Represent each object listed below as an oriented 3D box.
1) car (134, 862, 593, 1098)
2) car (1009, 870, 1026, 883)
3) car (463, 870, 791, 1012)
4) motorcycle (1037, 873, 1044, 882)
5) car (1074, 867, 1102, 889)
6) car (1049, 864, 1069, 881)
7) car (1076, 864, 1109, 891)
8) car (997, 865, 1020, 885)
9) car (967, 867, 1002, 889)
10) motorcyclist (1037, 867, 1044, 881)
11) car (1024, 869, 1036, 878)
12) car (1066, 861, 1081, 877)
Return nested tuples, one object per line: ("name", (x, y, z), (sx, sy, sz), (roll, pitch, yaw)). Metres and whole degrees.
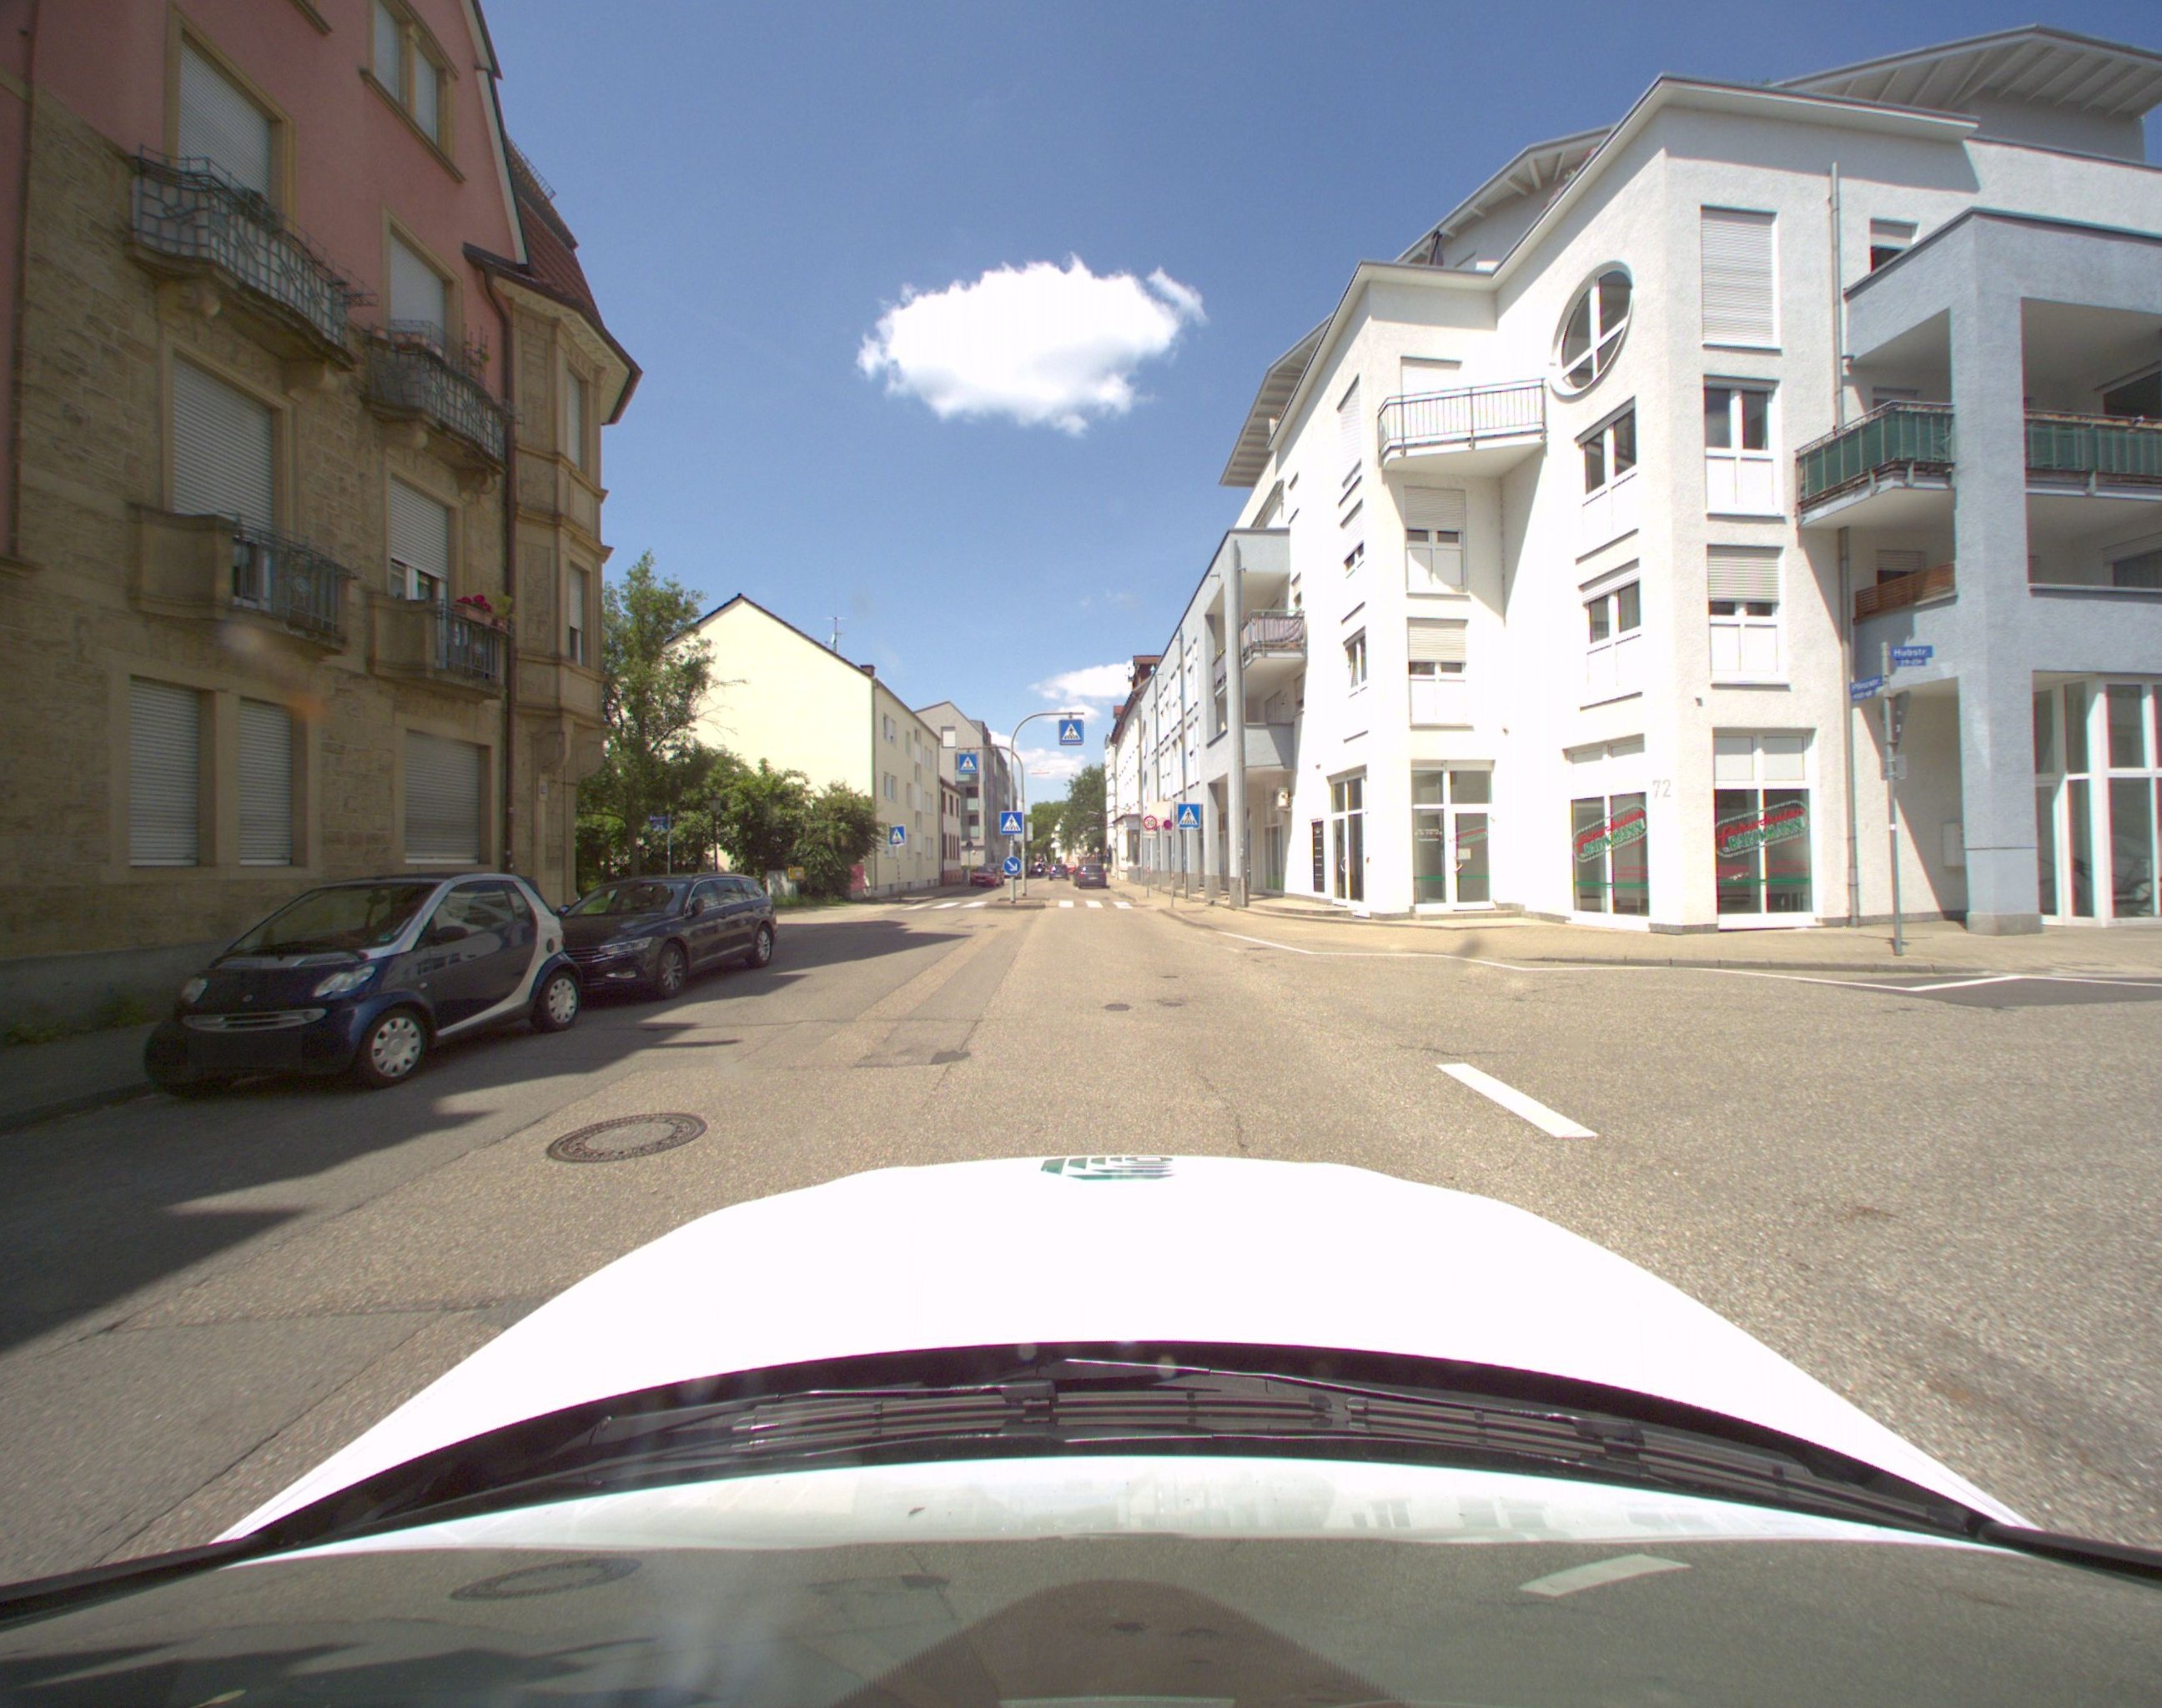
("car", (-5.571, 0.858, 6.762), (1.432, 1.523, 2.694), (-1, -1, -1))
("car", (-7.576, 2.679, 97.736), (1.718, 1.456, 4.003), (0, -1, 0))
("car", (-5.660, 0.974, 10.992), (1.777, 1.458, 4.634), (-1, -1, 0))
("motorcycle", (-4.851, 2.819, 97.677), (0.710, 1.028, 2.240), (-2, -1, 2))
("car", (0.413, 1.578, 54.799), (1.724, 1.420, 4.541), (-1, -1, -2))
("car", (-1.927, 1.642, 72.448), (1.710, 1.402, 3.998), (-1, -1, -1))
("car", (0.683, 1.392, 49.317), (1.706, 1.508, 3.995), (-1, -1, -3))
("car", (-7.463, 2.143, 84.101), (1.750, 1.892, 4.338), (1, -1, 2))
("car", (-6.630, 1.626, 56.517), (1.827, 1.417, 4.290), (-1, -1, 1))
("motorcyclist", (-4.871, 2.360, 97.680), (0.710, 1.634, 1.069), (-2, -1, 2))
("car", (-8.289, 3.108, 132.210), (1.728, 1.442, 3.996), (-1, -1, -2))
("car", (-0.982, 1.907, 105.858), (1.834, 2.014, 3.998), (-1, -1, -1))
